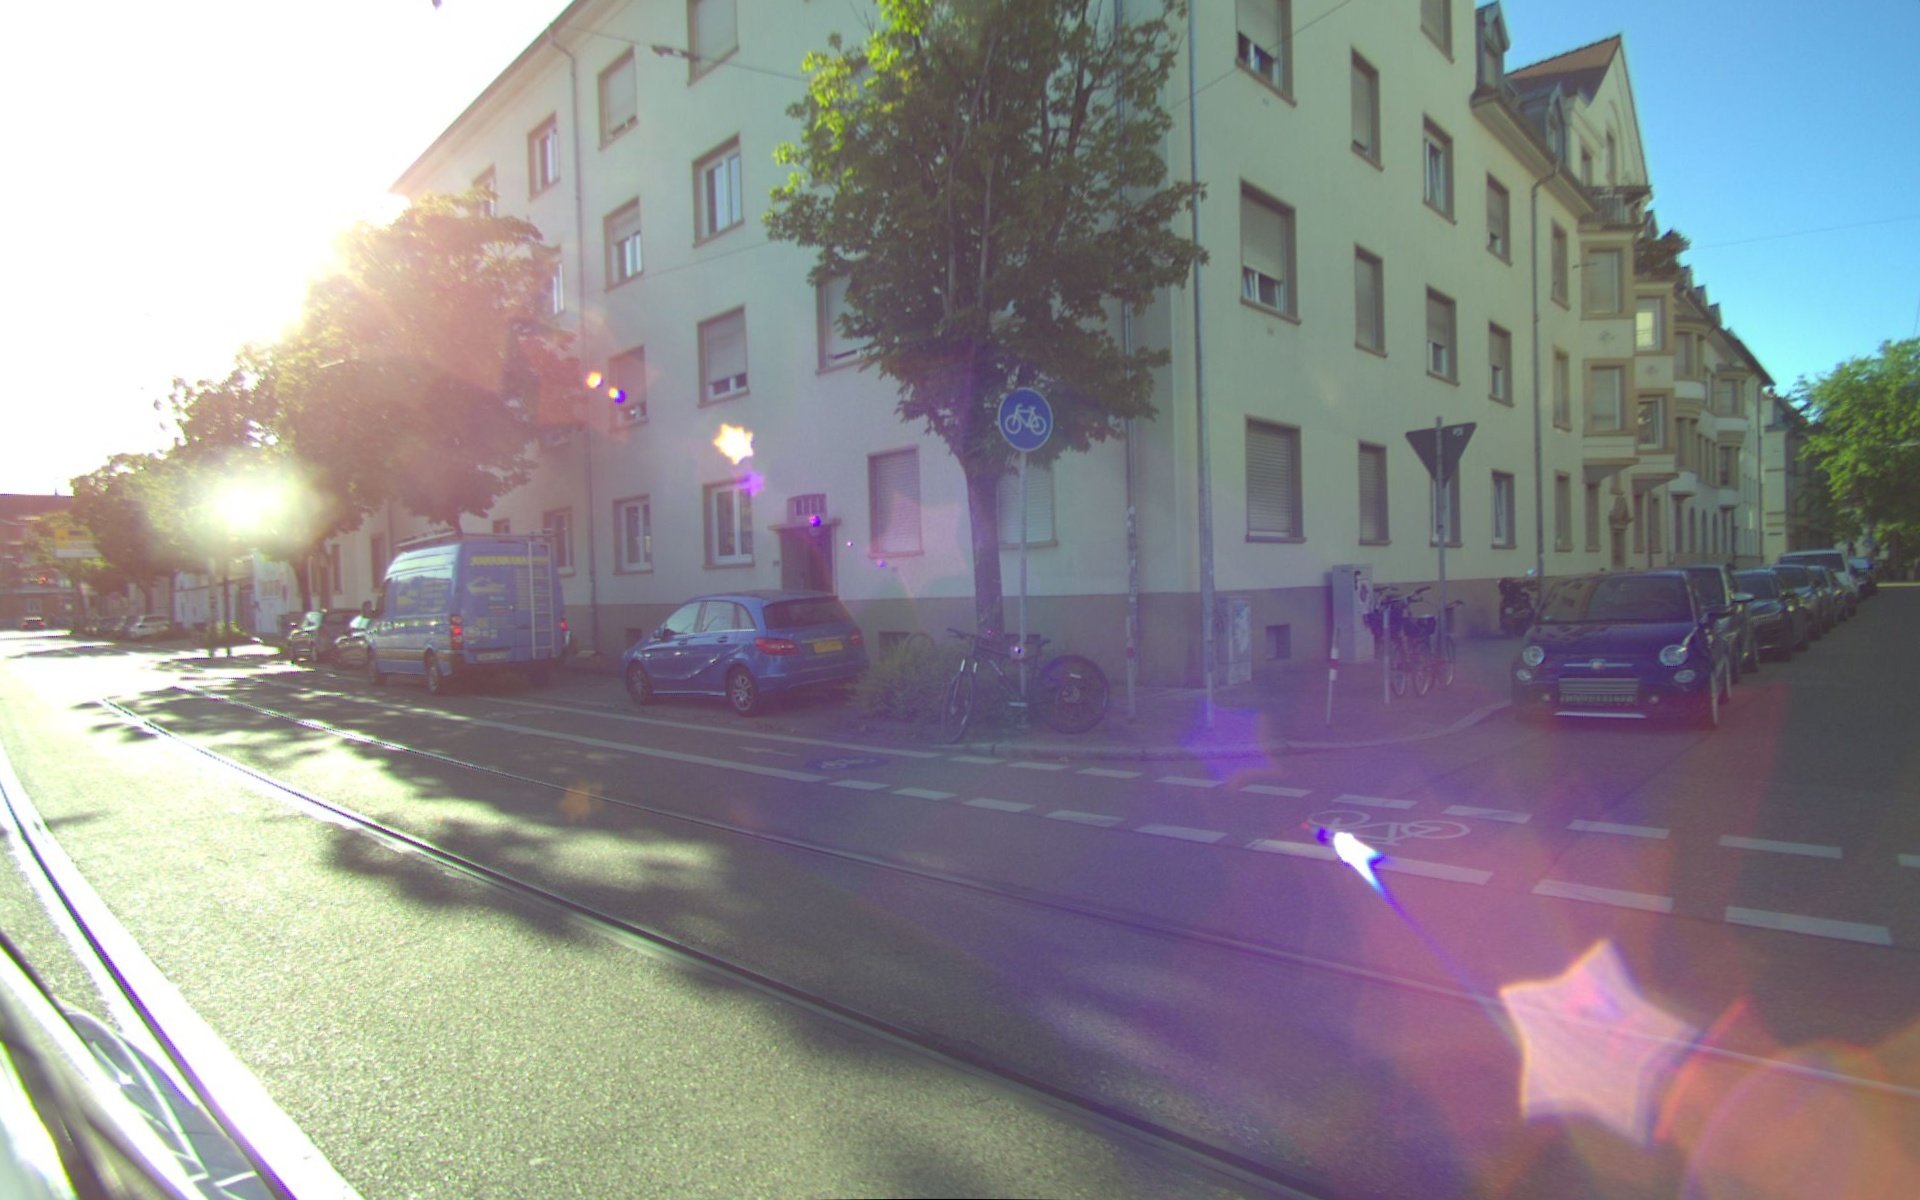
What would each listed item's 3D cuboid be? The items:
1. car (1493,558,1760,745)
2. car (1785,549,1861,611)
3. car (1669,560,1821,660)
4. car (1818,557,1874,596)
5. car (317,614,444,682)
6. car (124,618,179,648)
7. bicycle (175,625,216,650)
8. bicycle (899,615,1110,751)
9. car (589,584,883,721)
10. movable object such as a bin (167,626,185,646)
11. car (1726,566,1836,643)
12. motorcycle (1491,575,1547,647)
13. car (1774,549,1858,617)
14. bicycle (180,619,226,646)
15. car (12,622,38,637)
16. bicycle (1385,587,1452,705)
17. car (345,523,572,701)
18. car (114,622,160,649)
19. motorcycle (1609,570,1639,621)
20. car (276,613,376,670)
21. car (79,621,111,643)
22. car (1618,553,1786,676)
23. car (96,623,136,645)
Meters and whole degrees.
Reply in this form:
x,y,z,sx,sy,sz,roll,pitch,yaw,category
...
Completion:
x,y,z,sx,sy,sz,roll,pitch,yaw,category
6.897,0.376,10.299,1.767,1.469,3.846,-1,2,41,car
27.739,-0.640,32.506,1.740,1.848,3.471,-1,0,42,car
13.276,0.112,17.033,1.710,1.469,4.123,-1,0,42,car
35.808,-0.947,40.875,1.578,1.469,3.471,-3,-1,42,car
-14.256,1.112,24.802,1.632,1.435,4.192,-4,2,-44,car
-46.058,1.838,57.625,4.664,1.501,1.844,-1,2,45,car
-35.357,1.726,46.840,0.659,1.047,1.790,-3,1,-8,bicycle
0.371,0.731,9.488,2.028,1.142,0.507,-1,2,38,bicycle
-3.302,0.640,14.250,4.644,1.572,1.771,-1,2,45,car
-40.928,1.892,52.826,0.575,0.966,0.702,-9,6,-44,movable object such as a bin
17.346,0.078,21.325,1.578,1.469,3.471,-3,-1,42,car
10.875,0.190,19.645,0.624,1.316,2.521,0,1,36,motorcycle
24.810,-0.492,29.296,1.740,1.848,3.471,-1,0,42,car
-32.866,1.408,43.970,0.525,1.047,1.987,-2,1,-1,bicycle
-98.806,3.148,106.903,4.749,1.474,1.746,-1,0,44,car
5.369,0.501,11.812,0.397,1.238,1.488,2,4,36,bicycle
-9.597,0.182,19.032,1.994,2.847,6.037,-4,2,-44,car
-51.485,2.173,63.266,1.753,1.497,4.307,-4,2,-45,car
18.215,-0.141,27.739,0.535,1.316,2.211,-1,2,36,motorcycle
-18.810,1.177,29.979,1.632,1.502,4.003,-4,2,-44,car
-66.566,2.423,77.870,1.554,1.516,4.002,-4,2,-45,car
10.265,0.147,13.909,1.578,1.469,3.472,-1,0,41,car
-61.981,2.465,74.275,1.852,1.439,4.295,-4,2,-45,car
